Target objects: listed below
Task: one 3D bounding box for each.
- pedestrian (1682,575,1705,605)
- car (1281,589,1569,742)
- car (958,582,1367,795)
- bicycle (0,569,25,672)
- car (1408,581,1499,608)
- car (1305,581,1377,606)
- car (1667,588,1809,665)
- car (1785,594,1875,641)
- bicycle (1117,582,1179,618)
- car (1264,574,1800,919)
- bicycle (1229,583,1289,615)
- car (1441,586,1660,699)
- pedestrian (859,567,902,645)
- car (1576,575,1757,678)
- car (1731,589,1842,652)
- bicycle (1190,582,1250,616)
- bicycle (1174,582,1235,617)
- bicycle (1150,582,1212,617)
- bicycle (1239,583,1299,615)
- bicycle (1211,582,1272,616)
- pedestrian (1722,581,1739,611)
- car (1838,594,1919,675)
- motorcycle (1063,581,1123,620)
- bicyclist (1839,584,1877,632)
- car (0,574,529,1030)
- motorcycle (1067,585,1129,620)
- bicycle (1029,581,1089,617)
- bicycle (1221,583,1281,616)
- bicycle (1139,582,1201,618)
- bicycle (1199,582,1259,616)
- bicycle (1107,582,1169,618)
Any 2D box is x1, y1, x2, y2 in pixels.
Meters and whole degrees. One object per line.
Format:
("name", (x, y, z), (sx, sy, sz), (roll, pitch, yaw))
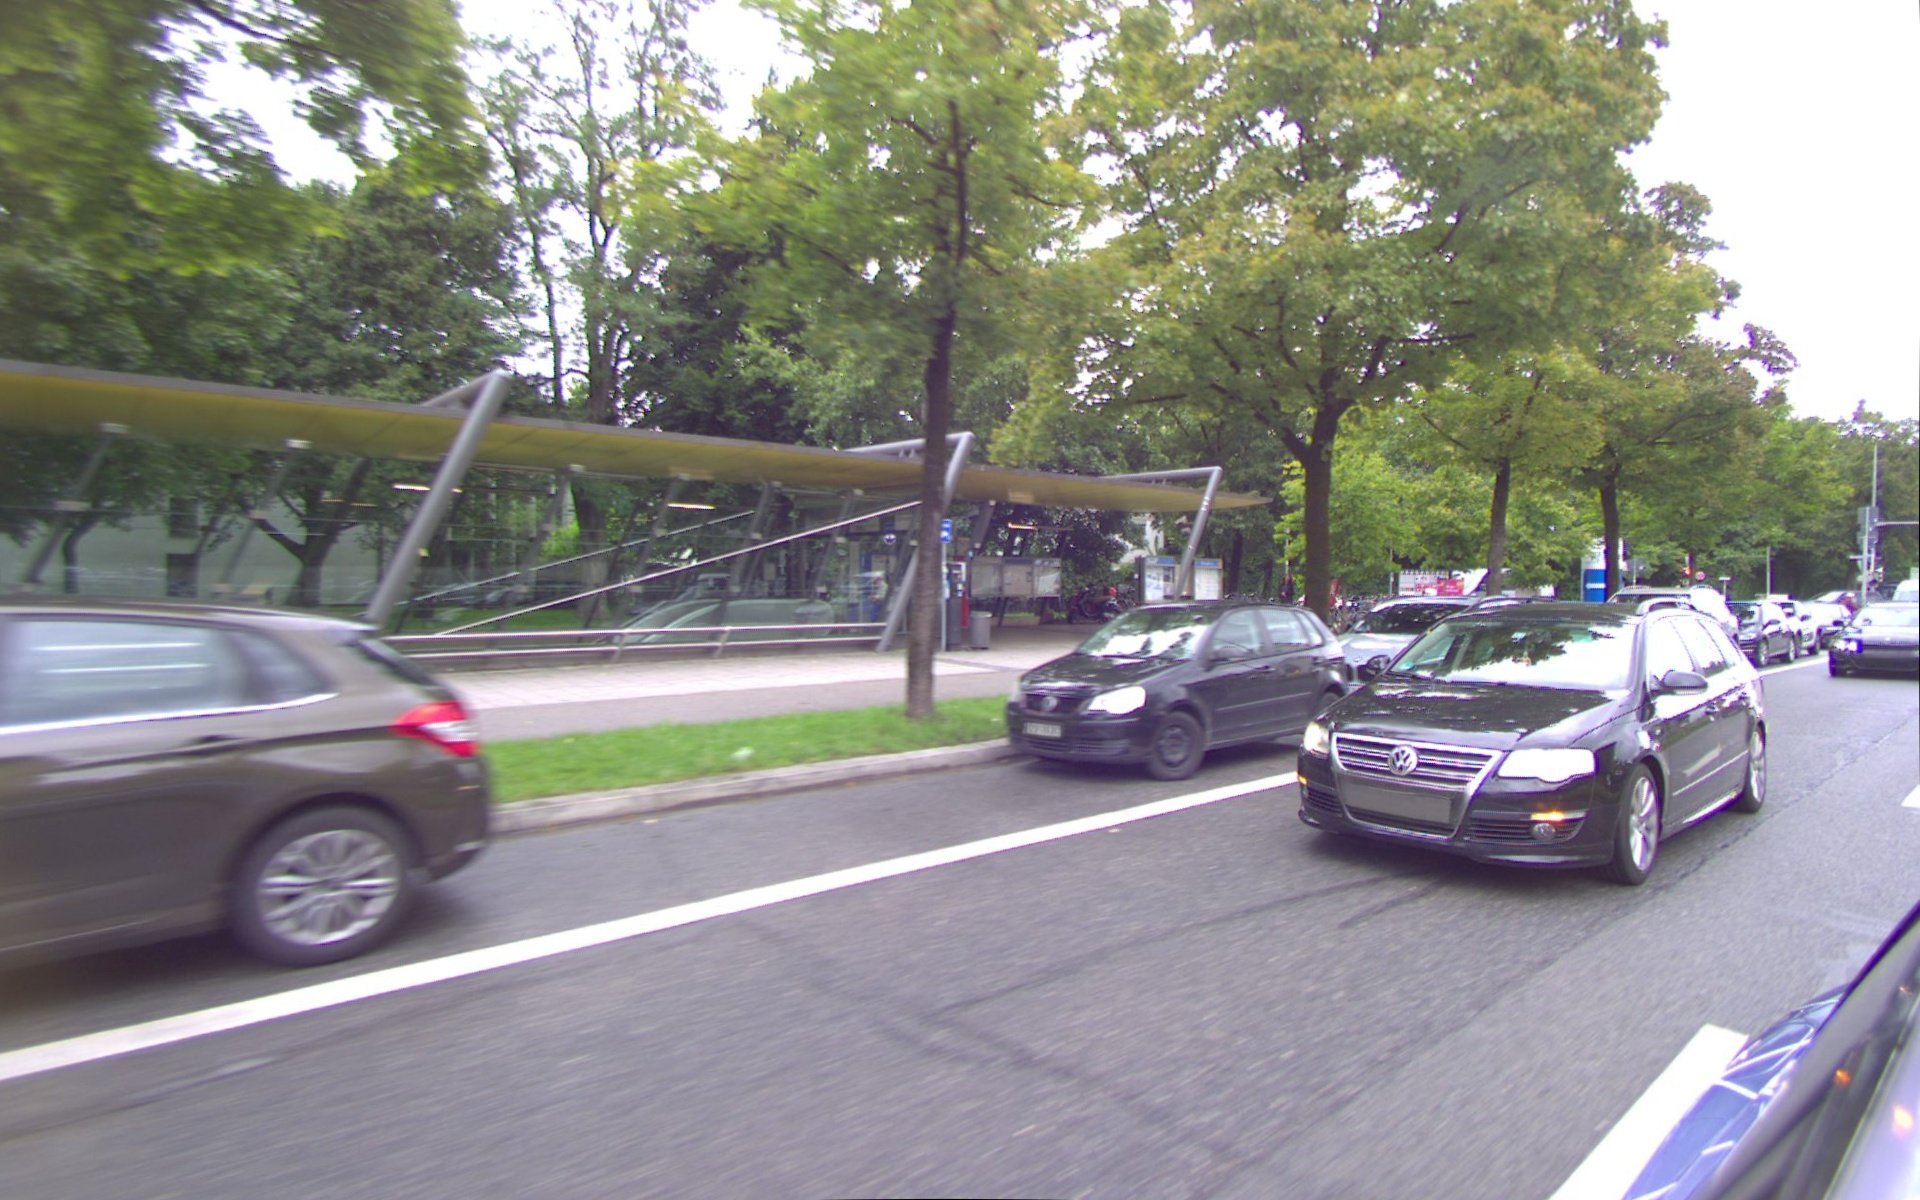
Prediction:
("pedestrian", (38.220, -0.524, 52.732), (0.722, 1.558, 0.694), (0, 1, -22))
("car", (5.841, 0.646, 12.458), (4.325, 1.553, 1.722), (0, 1, -43))
("car", (2.002, 0.632, 9.296), (4.019, 1.554, 1.545), (0, 0, -41))
("bicycle", (-13.041, 0.258, 12.256), (2.506, 1.296, 0.646), (0, 1, -41))
("car", (28.186, -0.342, 57.892), (1.856, 1.516, 4.304), (0, 1, -44))
("car", (23.699, -0.412, 63.077), (1.600, 1.472, 3.941), (0, 1, -43))
("car", (17.700, 0.548, 22.955), (4.562, 1.567, 1.750), (0, 0, -42))
("car", (27.678, 0.520, 32.140), (4.544, 1.377, 1.712), (-1, 0, -43))
("bicycle", (6.779, -0.022, 36.654), (0.520, 1.171, 2.343), (0, 3, -41))
("car", (3.968, 0.611, 6.594), (4.592, 1.493, 1.749), (0, 1, -43))
("bicycle", (11.930, -0.054, 40.429), (0.520, 1.171, 2.343), (0, 3, -41))
("car", (9.307, 0.574, 15.794), (4.427, 1.527, 1.703), (-1, -1, -43))
("pedestrian", (-1.604, 0.104, 20.366), (0.575, 1.532, 0.687), (0, 0, 31))
("car", (13.637, 0.442, 19.419), (4.820, 1.746, 1.750), (0, 0, -41))
("car", (22.315, 0.490, 27.261), (4.307, 1.567, 1.715), (0, 1, -42))
("bicycle", (9.955, -0.041, 38.821), (0.520, 1.171, 2.343), (0, 3, -41))
("bicycle", (9.195, -0.036, 38.113), (0.520, 1.171, 2.343), (0, 3, -41))
("bicycle", (8.156, -0.030, 37.456), (0.520, 1.171, 2.343), (0, 3, -41))
("bicycle", (12.413, -0.057, 40.761), (0.520, 1.171, 2.343), (0, 3, -41))
("bicycle", (11.024, -0.048, 39.710), (0.520, 1.171, 2.343), (0, 3, -41))
("pedestrian", (44.533, -0.247, 58.474), (0.758, 1.724, 0.926), (1, 1, 39))
("car", (18.957, 0.618, 19.998), (4.590, 1.447, 1.818), (0, 1, -41))
("motorcycle", (4.247, 0.014, 32.328), (1.775, 1.192, 0.660), (0, 1, -16))
("bicyclist", (34.009, 0.301, 38.343), (0.815, 1.786, 0.743), (1, 1, 14))
("car", (-4.042, 0.664, 3.801), (4.150, 1.527, 1.720), (0, 1, -41))
("motorcycle", (4.275, 0.074, 31.415), (1.778, 1.075, 0.659), (1, 1, -3))
("bicycle", (3.390, -0.045, 34.487), (2.303, 1.171, 0.529), (0, 3, -39))
("bicycle", (11.489, -0.033, 40.051), (0.520, 1.171, 2.343), (0, 3, -41))
("bicycle", (7.678, -0.027, 37.119), (0.520, 1.171, 2.343), (0, 3, -41))
("bicycle", (10.439, -0.045, 39.350), (0.520, 1.171, 2.343), (0, 3, -41))
("bicycle", (6.346, -0.019, 36.199), (0.520, 1.171, 2.343), (0, 3, -41))
